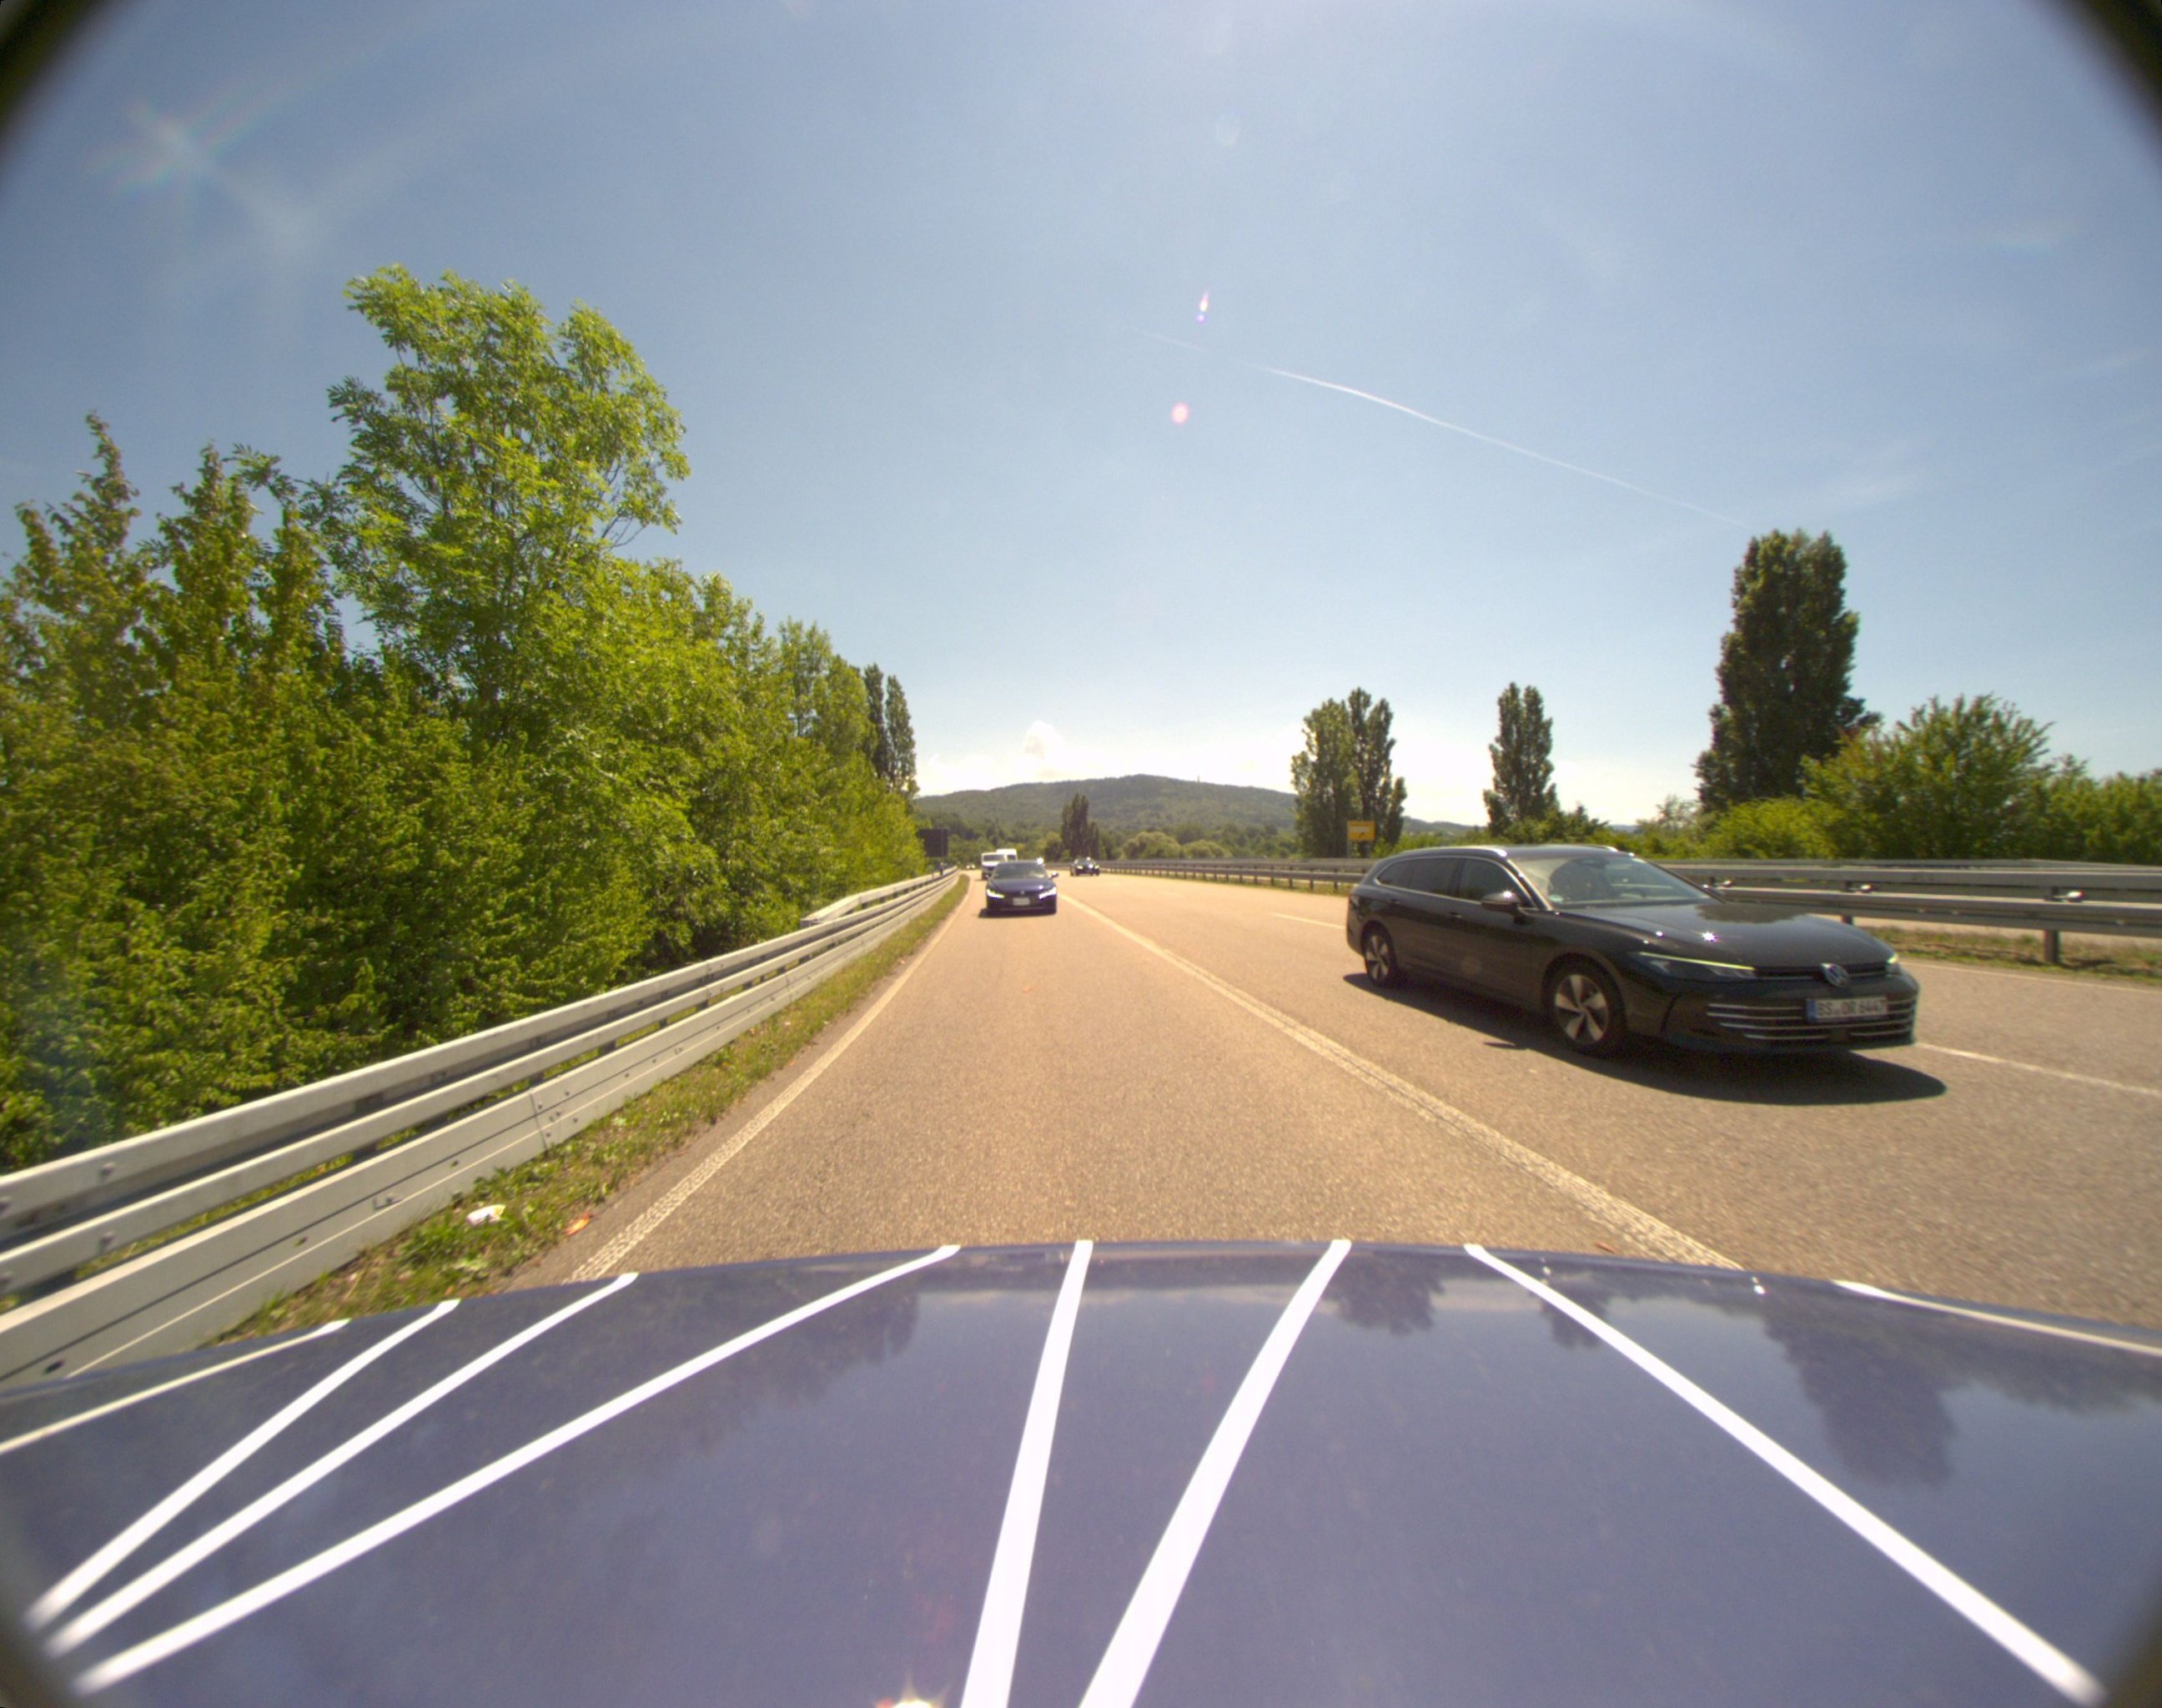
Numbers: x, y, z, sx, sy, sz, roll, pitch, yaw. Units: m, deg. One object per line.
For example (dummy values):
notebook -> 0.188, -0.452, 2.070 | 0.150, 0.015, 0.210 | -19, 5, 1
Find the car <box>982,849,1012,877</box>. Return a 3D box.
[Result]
car -> -6.106, 0.644, 55.752 | 1.999, 1.939, 4.642 | -2, 0, -5

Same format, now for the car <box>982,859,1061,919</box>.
car -> -1.546, 0.891, 21.260 | 1.843, 1.422, 4.533 | -2, 0, 0

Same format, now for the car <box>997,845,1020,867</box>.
car -> -6.943, 0.214, 72.999 | 1.999, 1.939, 4.642 | -2, 0, -5

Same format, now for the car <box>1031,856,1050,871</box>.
car -> -4.810, 1.107, 90.035 | 1.831, 1.602, 3.998 | -3, 0, -8

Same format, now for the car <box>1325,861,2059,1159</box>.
car -> 4.144, 0.839, 6.560 | 1.891, 1.472, 5.001 | -2, 0, -8

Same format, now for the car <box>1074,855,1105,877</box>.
car -> 0.630, 0.908, 60.092 | 1.999, 1.564, 4.642 | -2, 0, -5
